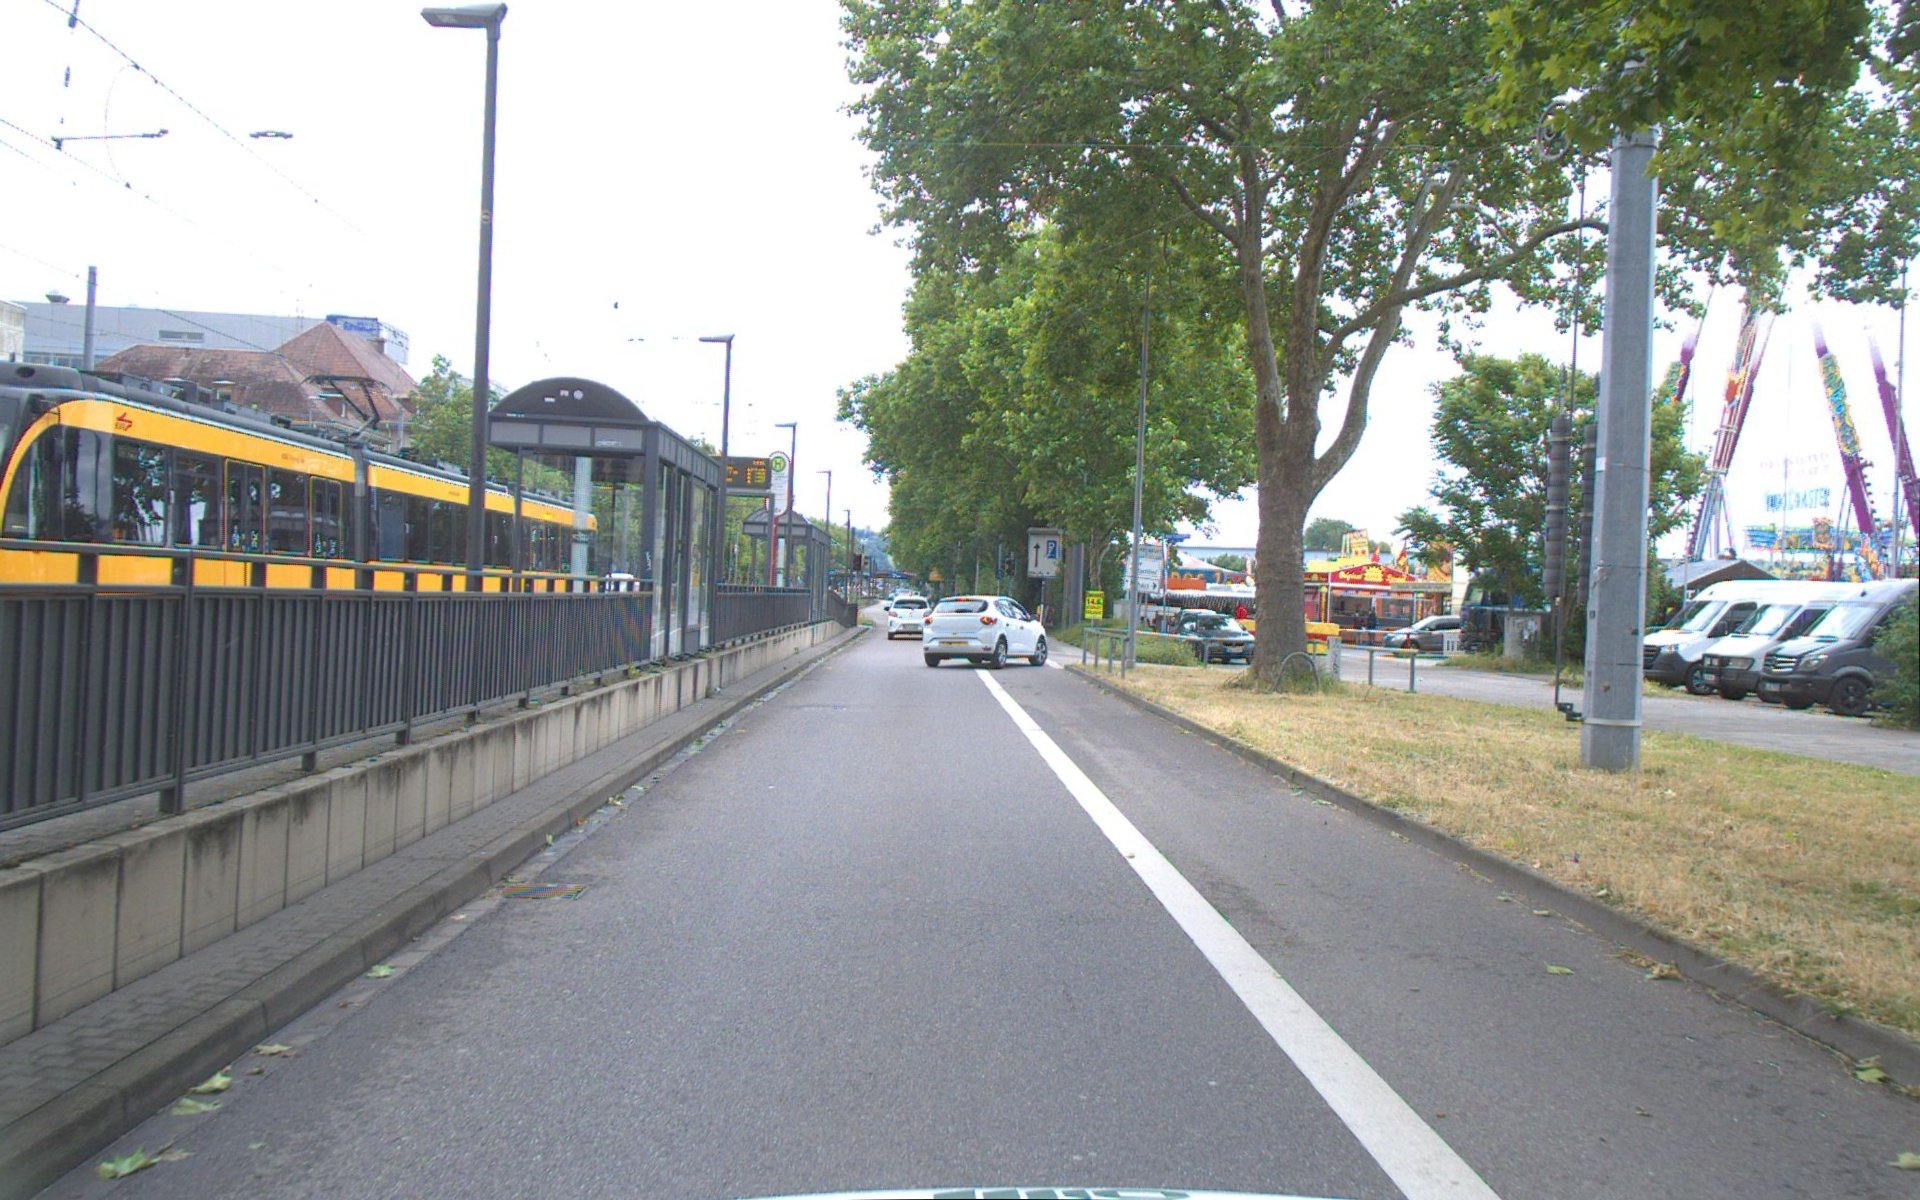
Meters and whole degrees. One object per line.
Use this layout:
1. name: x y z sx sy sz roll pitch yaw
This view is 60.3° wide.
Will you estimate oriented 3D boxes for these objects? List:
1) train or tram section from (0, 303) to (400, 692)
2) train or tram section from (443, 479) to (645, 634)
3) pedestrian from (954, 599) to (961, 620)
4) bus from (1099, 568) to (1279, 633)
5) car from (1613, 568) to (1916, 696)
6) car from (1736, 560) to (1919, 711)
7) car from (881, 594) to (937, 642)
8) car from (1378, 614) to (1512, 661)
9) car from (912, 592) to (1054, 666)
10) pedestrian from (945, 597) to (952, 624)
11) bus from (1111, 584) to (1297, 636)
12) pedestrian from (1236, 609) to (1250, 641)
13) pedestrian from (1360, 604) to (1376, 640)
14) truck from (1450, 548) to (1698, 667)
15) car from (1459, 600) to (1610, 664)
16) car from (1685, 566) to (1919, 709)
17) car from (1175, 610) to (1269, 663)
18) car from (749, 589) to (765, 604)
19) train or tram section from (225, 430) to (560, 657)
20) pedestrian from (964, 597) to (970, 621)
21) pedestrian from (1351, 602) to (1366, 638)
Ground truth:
1. train or tram section: -12.265 -1.129 24.584 3.116 4.252 14.728 2 0 -2
2. train or tram section: -13.130 -1.184 53.988 3.116 4.252 14.728 2 0 -2
3. pedestrian: -0.188 0.658 113.957 0.387 1.470 0.563 2 -1 4
4. bus: 12.056 0.057 87.253 9.095 3.011 1.998 2 -1 -5
5. car: 18.233 0.729 37.635 5.904 2.600 2.098 2 -1 -4
6. car: 17.995 0.763 31.086 5.668 2.565 2.171 4 0 0
7. car: -1.759 0.620 58.161 1.803 1.579 3.999 2 0 -1
8. car: 18.485 1.415 63.185 4.482 1.603 1.999 2 -1 -3
9. car: 0.572 0.642 36.361 1.847 1.478 4.000 2 -1 21
10. pedestrian: -0.916 0.828 130.657 0.387 2.049 0.403 2 -1 13
11. bus: 12.355 0.524 84.055 9.095 2.266 1.998 2 -1 -5
12. pedestrian: 13.312 1.192 77.794 0.483 1.488 0.523 2 -1 -5
13. pedestrian: 19.858 1.075 80.453 0.514 1.716 0.492 2 -1 -18
14. truck: 22.280 0.283 60.245 8.028 3.889 2.598 2 -1 -3
15. car: 19.791 1.096 57.060 4.482 2.049 1.999 1 1 -4
16. car: 18.365 0.828 34.286 5.670 2.579 2.039 4 -1 -3
17. car: 7.922 1.080 50.352 1.827 1.455 3.995 2 0 -6
18. car: -26.328 -0.415 214.517 1.955 1.825 3.995 2 0 -5
19. train or tram section: -12.722 -1.040 39.294 3.116 4.252 14.728 2 0 -2
20. pedestrian: 0.488 0.640 113.969 0.387 1.613 0.538 2 -1 1
21. pedestrian: 19.284 0.956 80.019 0.514 1.716 0.492 2 -1 -18
